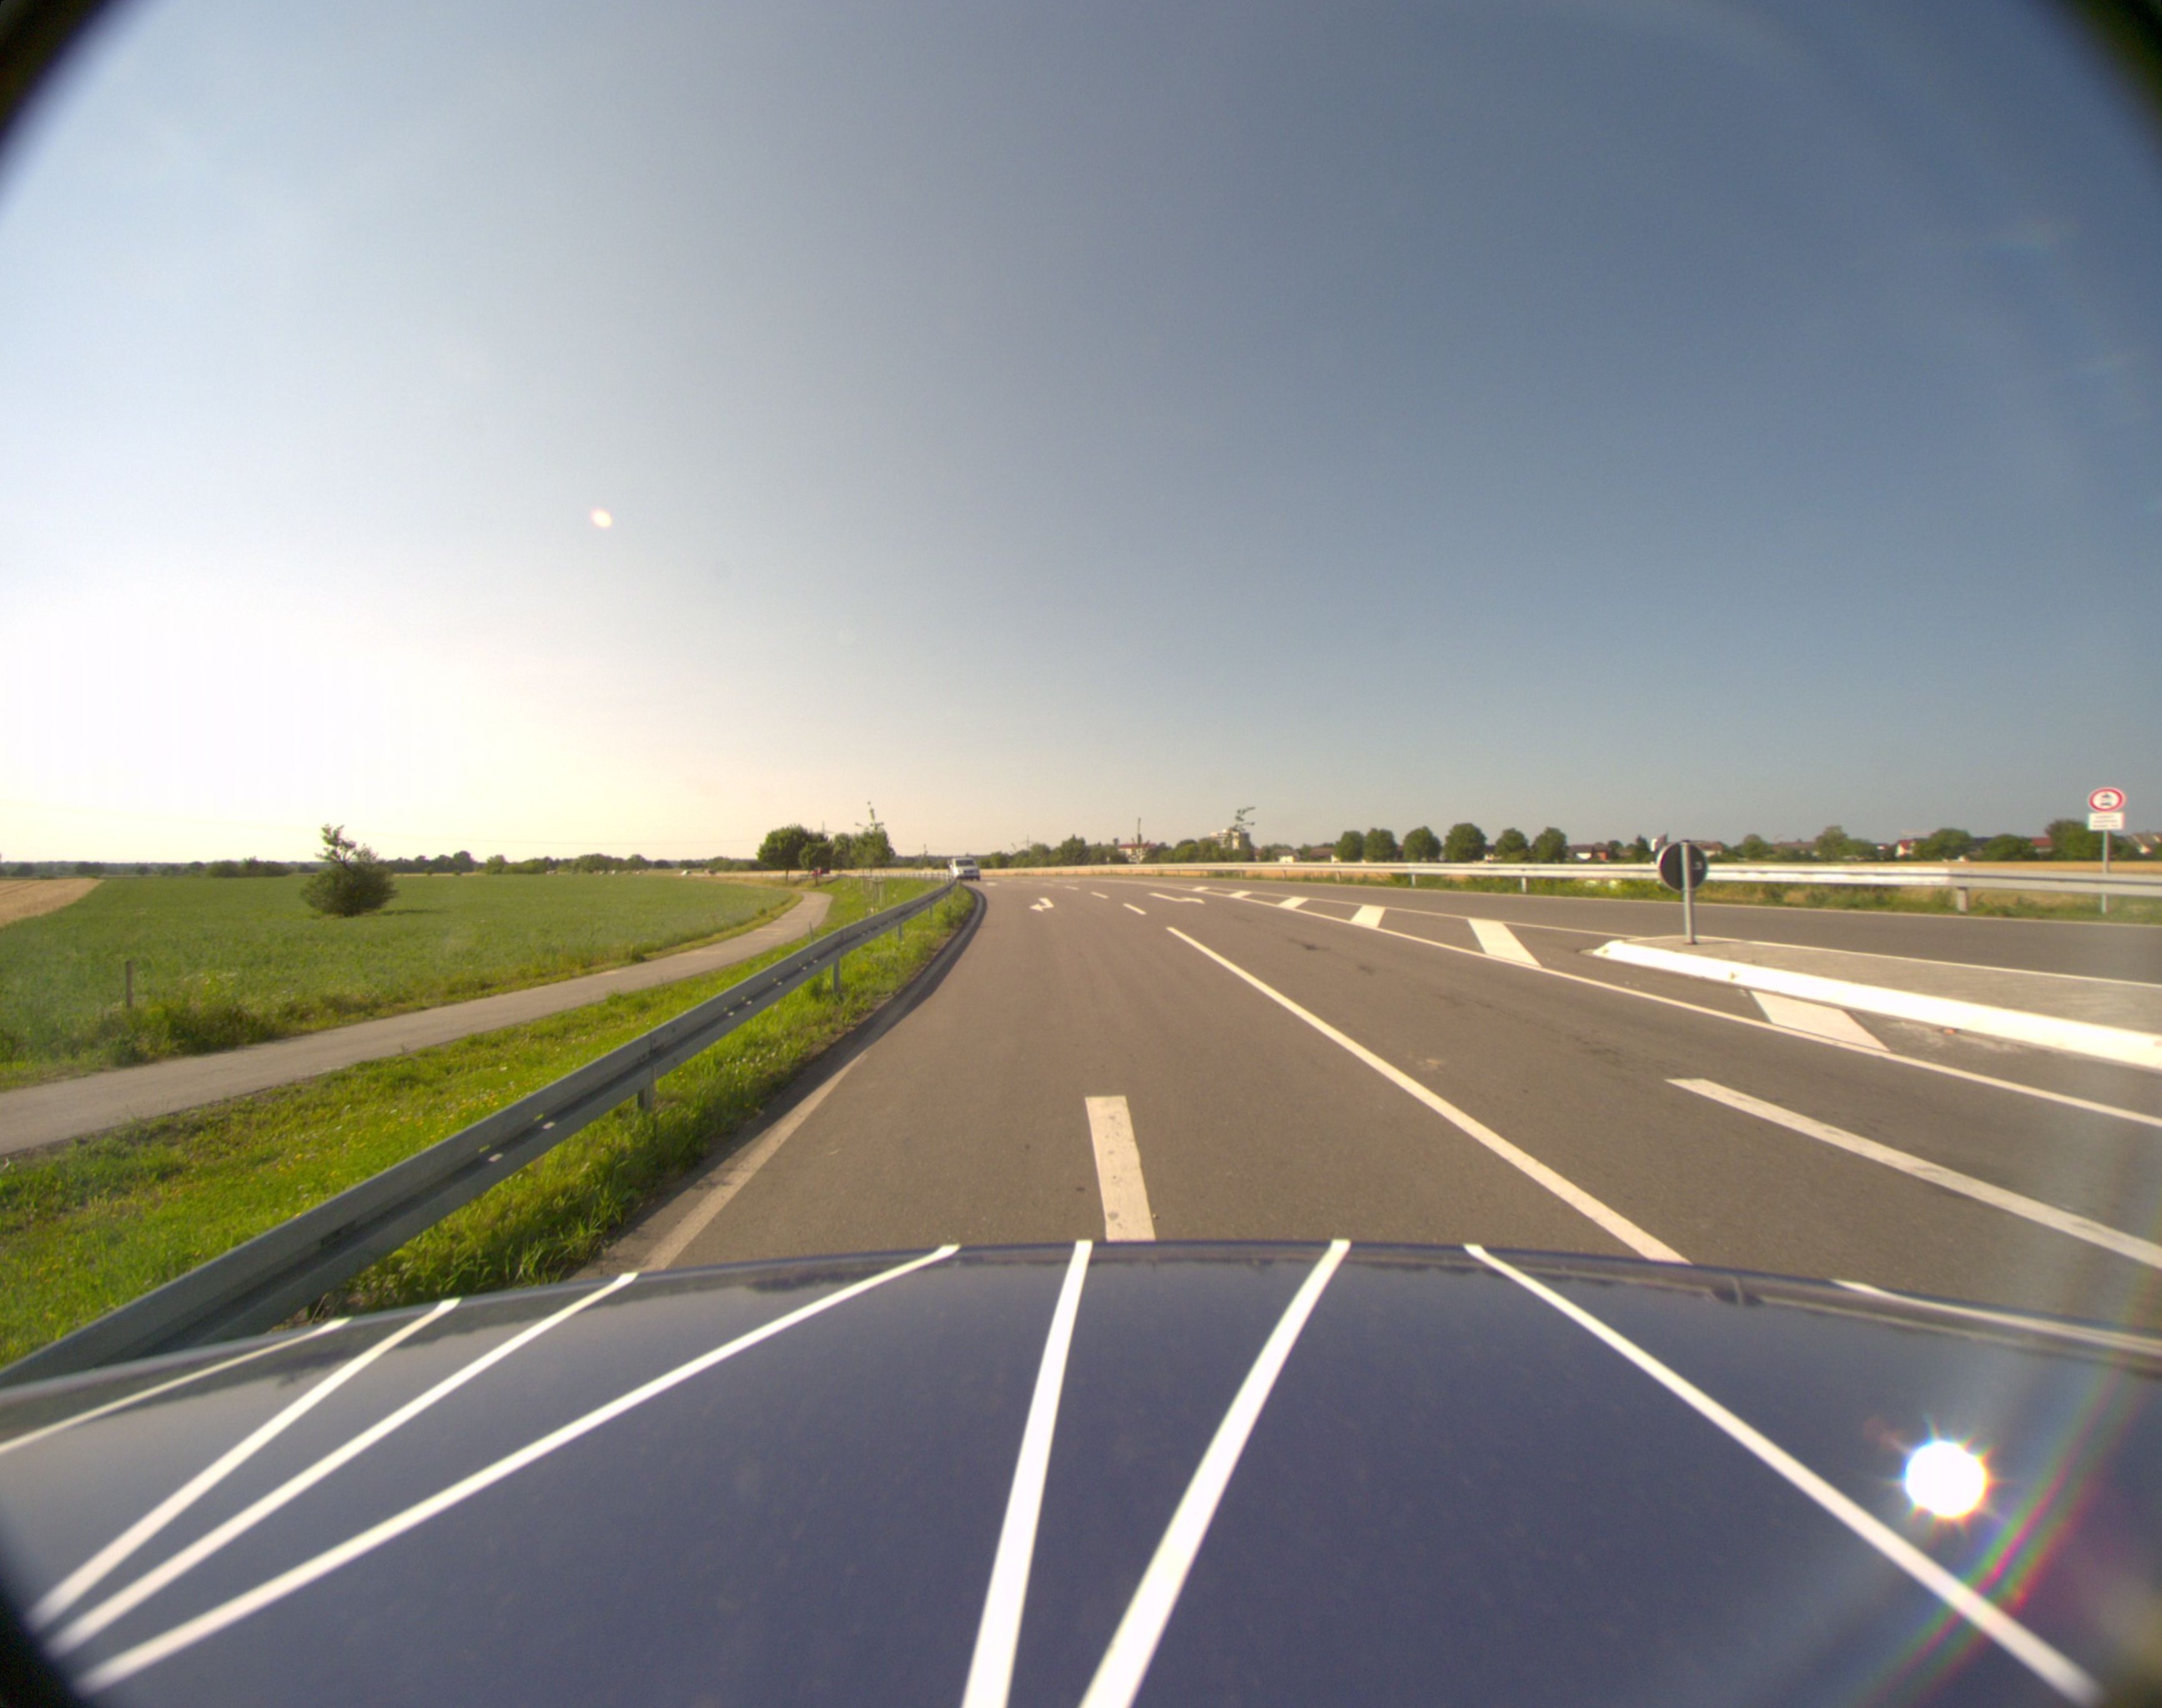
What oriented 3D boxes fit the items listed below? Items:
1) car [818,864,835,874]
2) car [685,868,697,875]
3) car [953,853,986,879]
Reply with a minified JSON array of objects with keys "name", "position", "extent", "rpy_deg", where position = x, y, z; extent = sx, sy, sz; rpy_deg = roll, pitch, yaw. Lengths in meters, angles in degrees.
[{"name":"car","position":[-45.942,2.731,136.940],"extent":[1.818,1.663,3.990],"rpy_deg":[-3,1,-34]},{"name":"car","position":[-106.630,4.775,207.836],"extent":[2.004,1.746,3.989],"rpy_deg":[-1,-1,-42]},{"name":"car","position":[-7.725,0.805,52.528],"extent":[1.757,1.685,4.209],"rpy_deg":[-3,1,-14]}]
